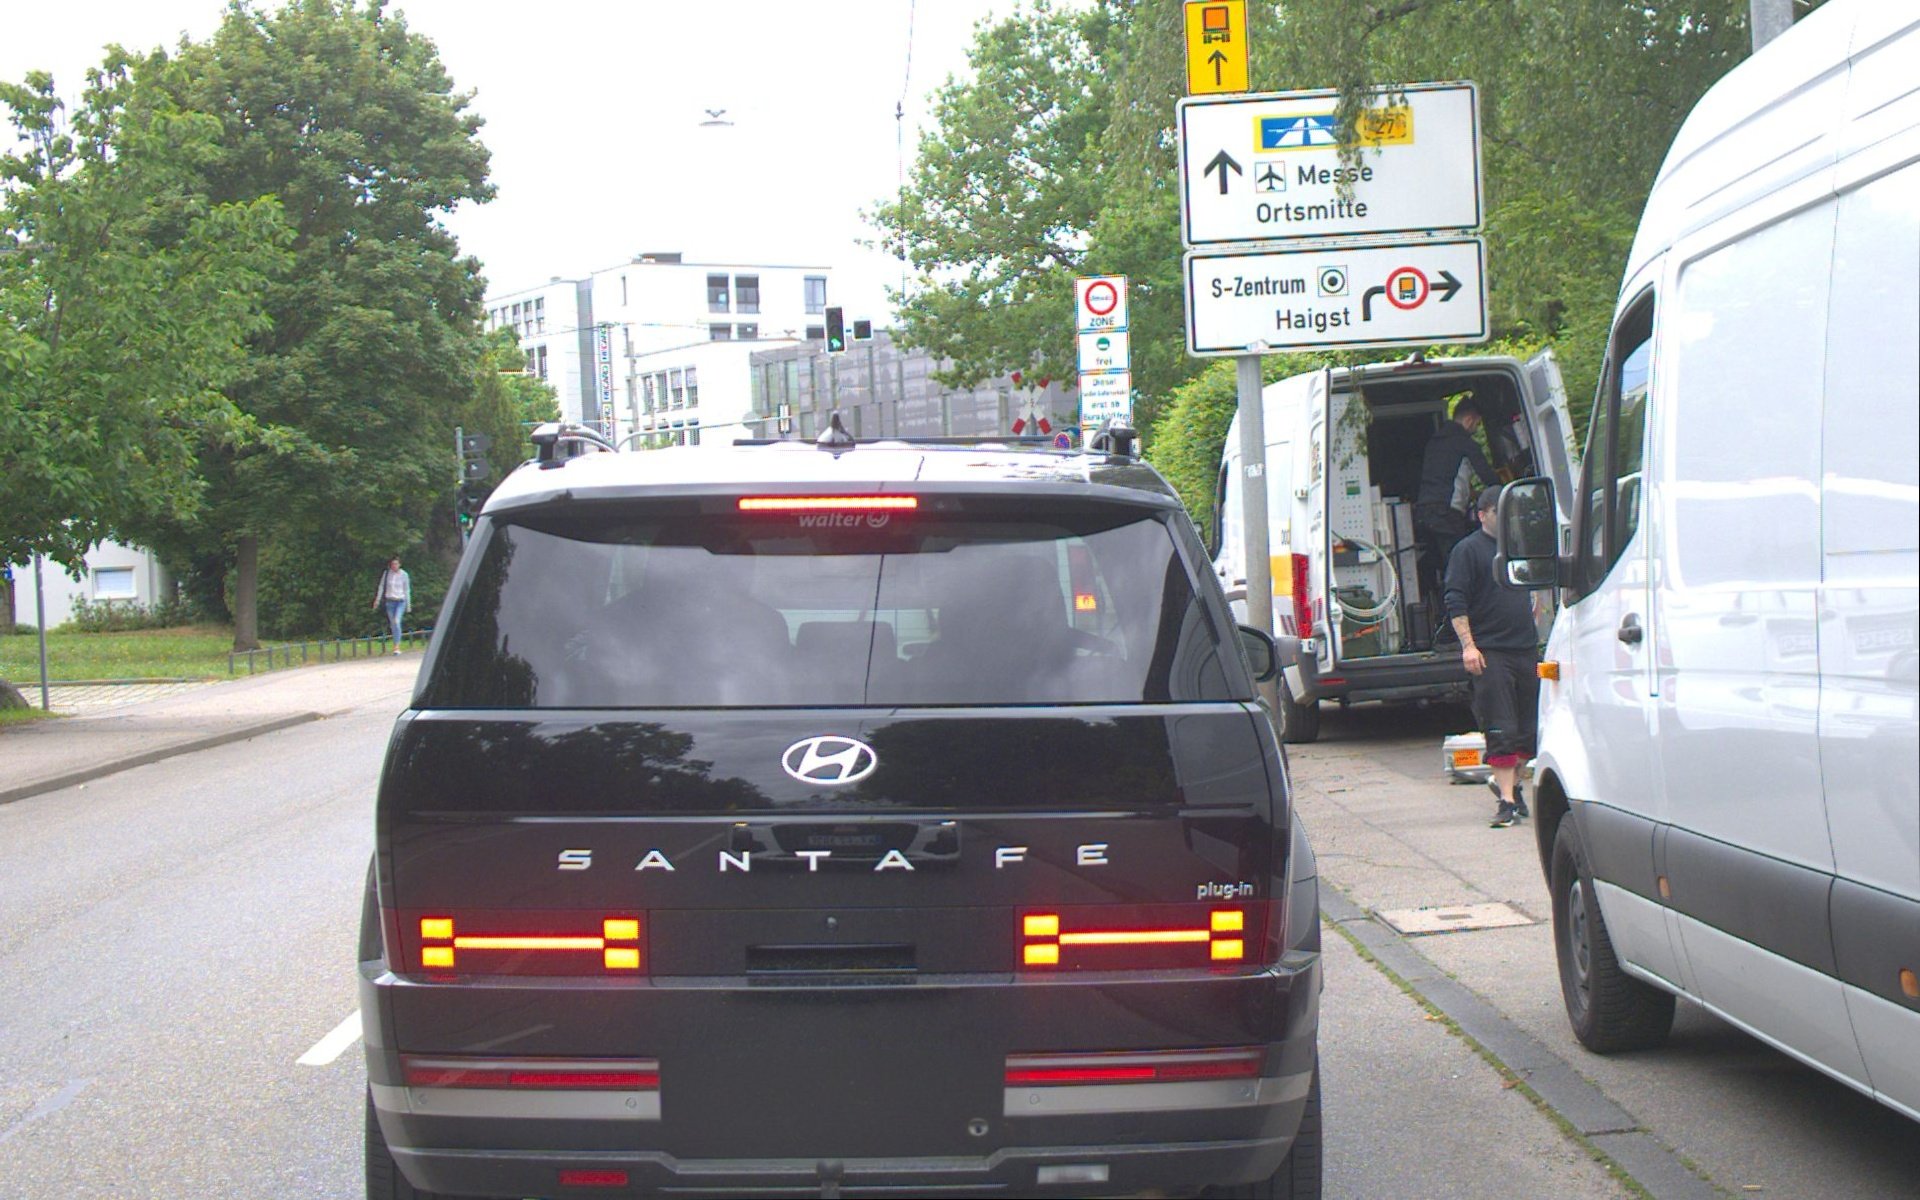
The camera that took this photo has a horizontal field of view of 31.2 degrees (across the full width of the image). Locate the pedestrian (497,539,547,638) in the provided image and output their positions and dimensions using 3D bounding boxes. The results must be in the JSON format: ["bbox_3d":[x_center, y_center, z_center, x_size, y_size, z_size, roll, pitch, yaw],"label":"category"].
[{"bbox_3d":[-8.993,-0.235,70.620,0.830,2.007,1.047,1,0,2],"label":"pedestrian"}]

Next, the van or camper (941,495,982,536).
[{"bbox_3d":[0.057,-4.225,172.466,1.795,1.992,3.824,1,1,-4],"label":"van or camper"}]

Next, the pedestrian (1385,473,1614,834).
[{"bbox_3d":[2.648,0.251,16.887,0.750,1.715,0.791,1,1,-41],"label":"pedestrian"}]

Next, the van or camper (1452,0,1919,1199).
[{"bbox_3d":[2.600,-0.015,6.982,1.991,2.616,6.544,-5,1,-1],"label":"van or camper"}]

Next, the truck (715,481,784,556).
[{"bbox_3d":[-11.509,-4.397,187.135,3.107,3.846,9.623,-2,1,-6],"label":"truck"}]

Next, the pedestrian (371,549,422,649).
[{"bbox_3d":[-10.002,-0.021,61.025,0.767,1.742,0.904,-1,0,-1],"label":"pedestrian"}]

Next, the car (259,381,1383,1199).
[{"bbox_3d":[-0.261,0.506,7.862,1.897,1.770,3.994,1,1,-1],"label":"car"}]

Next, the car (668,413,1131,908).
[{"bbox_3d":[-0.275,0.233,16.326,1.897,2.035,3.994,1,1,-1],"label":"car"}]

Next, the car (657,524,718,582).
[{"bbox_3d":[-11.450,-1.986,144.215,2.332,2.307,4.959,-2,1,-6],"label":"car"}]

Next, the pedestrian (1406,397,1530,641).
[{"bbox_3d":[3.532,-0.559,23.974,0.736,1.638,0.801,-3,0,6],"label":"pedestrian"}]

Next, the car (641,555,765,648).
[{"bbox_3d":[-4.347,0.006,58.669,1.756,1.398,4.414,-4,1,-1],"label":"car"}]

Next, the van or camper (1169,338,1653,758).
[{"bbox_3d":[3.085,-0.329,25.256,2.340,2.486,6.603,-5,0,-1],"label":"van or camper"}]
